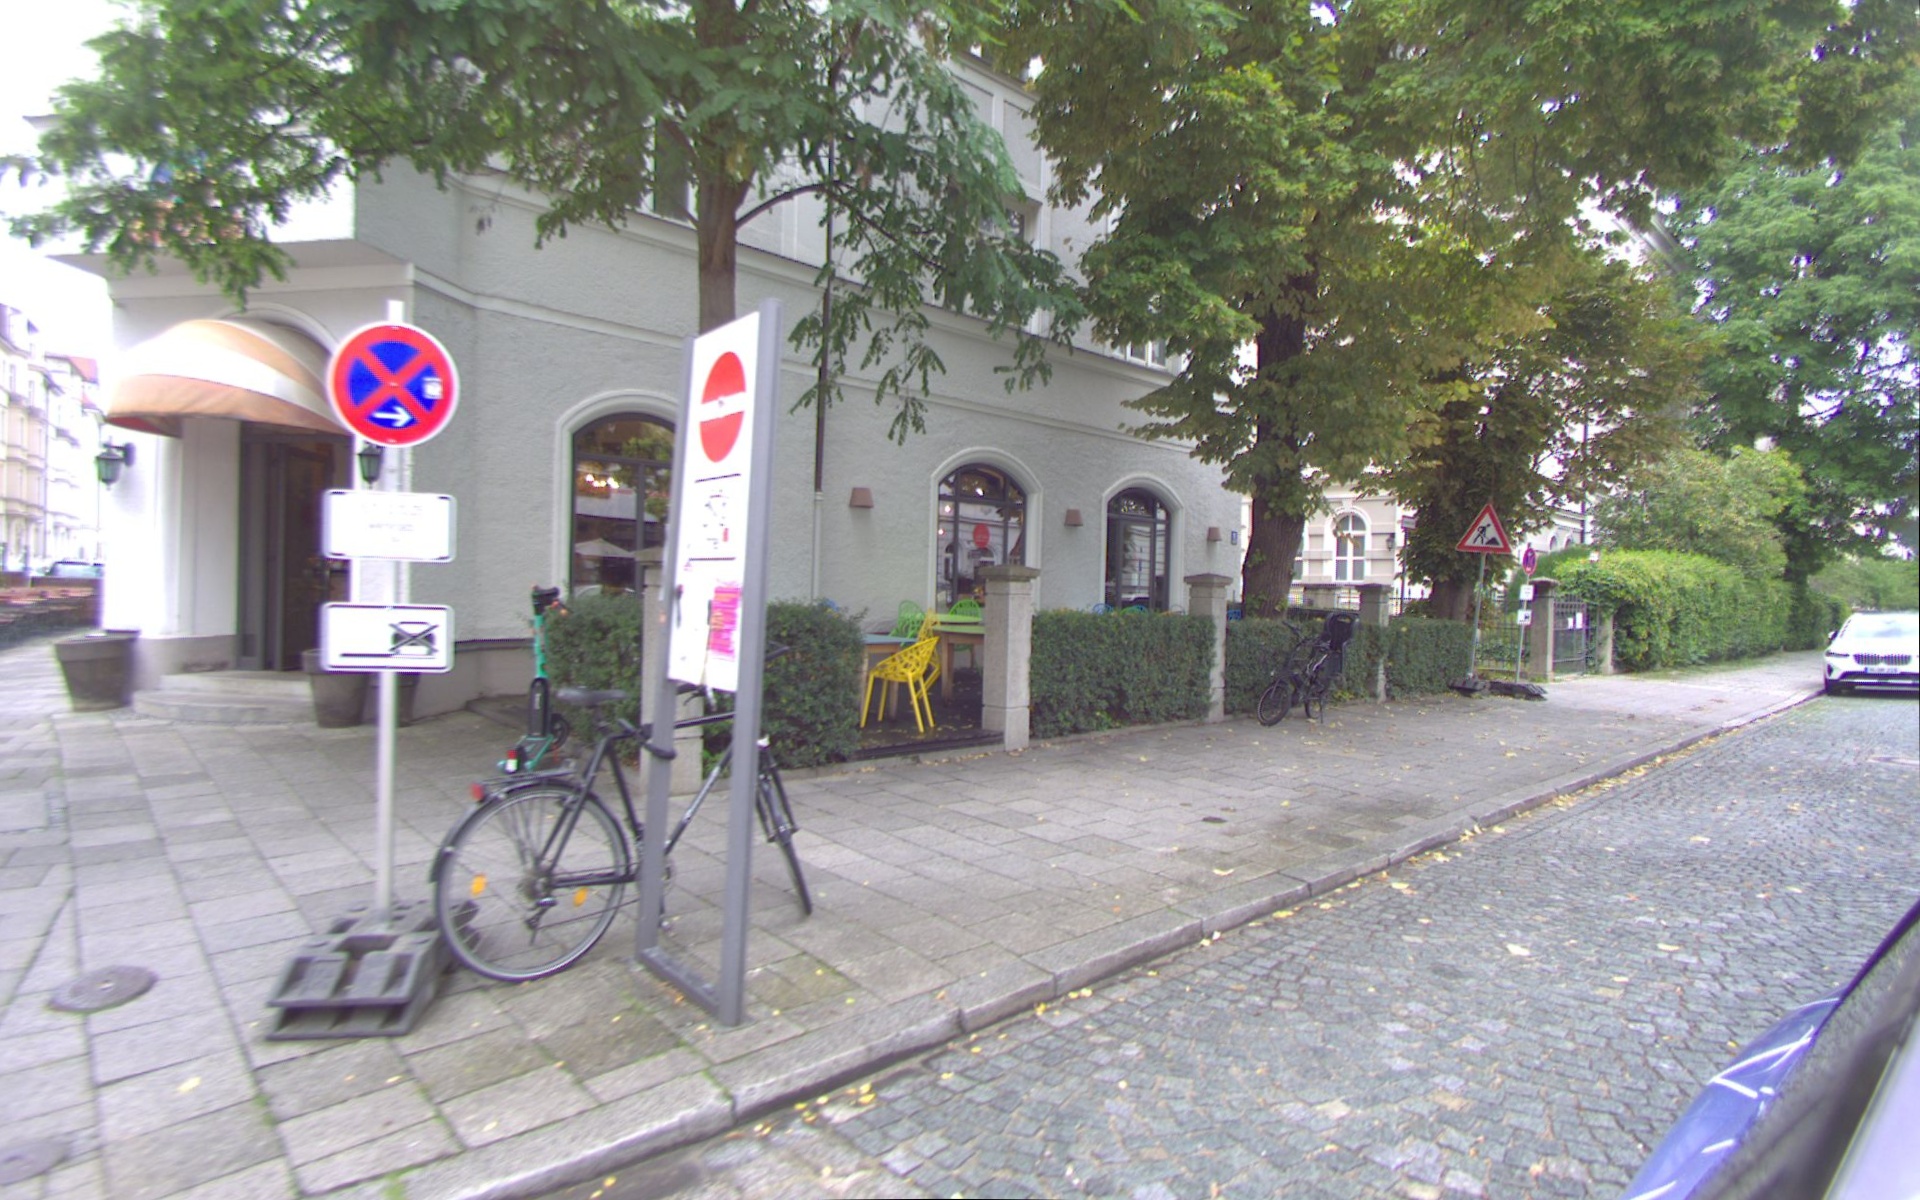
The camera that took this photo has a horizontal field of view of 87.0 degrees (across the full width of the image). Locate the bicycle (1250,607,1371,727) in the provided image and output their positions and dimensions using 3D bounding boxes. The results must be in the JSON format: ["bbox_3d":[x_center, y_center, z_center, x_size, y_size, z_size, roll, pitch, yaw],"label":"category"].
[{"bbox_3d":[3.942,0.707,11.309,1.701,1.212,0.428,0,5,-43],"label":"bicycle"}]

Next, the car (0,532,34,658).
[{"bbox_3d":[-15.915,-0.082,15.562,1.739,1.994,3.935,1,0,-32],"label":"car"}]

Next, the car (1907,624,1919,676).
[{"bbox_3d":[28.010,1.395,28.374,4.729,1.314,1.920,0,0,-44],"label":"car"}]

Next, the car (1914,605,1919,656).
[{"bbox_3d":[36.992,1.084,37.721,4.730,1.843,1.814,0,-3,-45],"label":"car"}]

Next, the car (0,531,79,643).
[{"bbox_3d":[-18.041,-0.247,18.975,1.696,1.959,3.663,1,0,-32],"label":"car"}]

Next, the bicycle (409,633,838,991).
[{"bbox_3d":[-1.269,0.731,4.016,1.560,1.161,0.389,1,0,-37],"label":"bicycle"}]

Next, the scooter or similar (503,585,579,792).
[{"bbox_3d":[-2.850,0.528,6.956,0.396,1.186,1.612,1,3,-20],"label":"scooter or similar"}]

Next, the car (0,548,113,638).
[{"bbox_3d":[-20.346,-0.155,22.608,1.709,1.835,4.001,1,0,-34],"label":"car"}]

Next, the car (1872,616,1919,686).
[{"bbox_3d":[24.236,1.237,25.392,4.398,1.620,1.748,0,0,-44],"label":"car"}]

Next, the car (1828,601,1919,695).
[{"bbox_3d":[19.381,0.902,20.731,4.555,1.707,1.923,0,1,-43],"label":"car"}]
